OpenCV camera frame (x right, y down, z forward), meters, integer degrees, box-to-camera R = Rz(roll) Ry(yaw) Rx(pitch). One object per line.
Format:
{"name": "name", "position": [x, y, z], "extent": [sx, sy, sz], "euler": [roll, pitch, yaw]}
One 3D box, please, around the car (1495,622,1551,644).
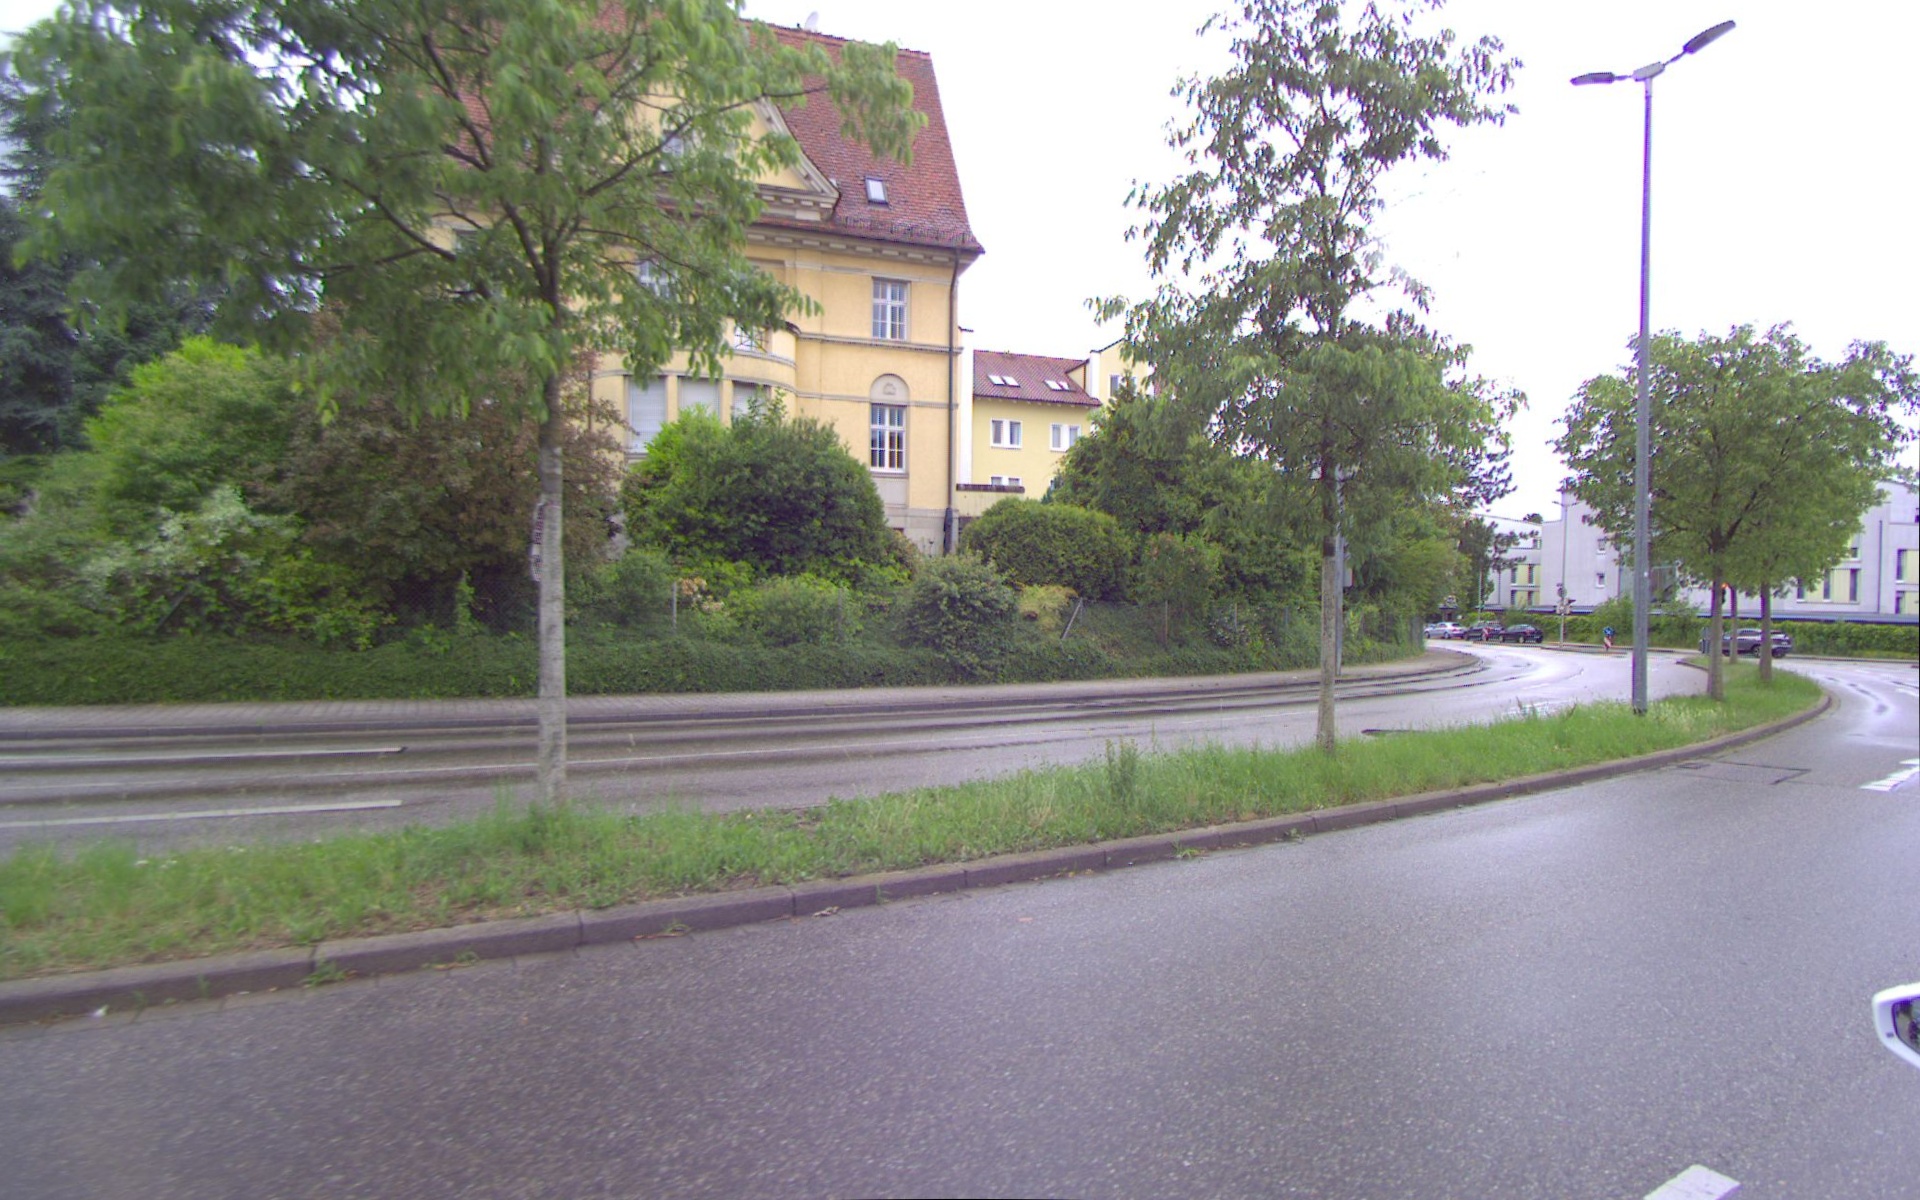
{"name": "car", "position": [44.853, 2.634, 80.083], "extent": [1.962, 1.576, 3.996], "euler": [0, 0, -6]}

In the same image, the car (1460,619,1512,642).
{"name": "car", "position": [44.329, 2.570, 84.735], "extent": [1.963, 1.576, 3.995], "euler": [2, 2, -6]}

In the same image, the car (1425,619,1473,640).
{"name": "car", "position": [43.495, 2.591, 89.446], "extent": [1.963, 1.576, 3.995], "euler": [2, 2, -6]}

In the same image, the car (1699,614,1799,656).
{"name": "car", "position": [44.950, 1.954, 57.352], "extent": [1.951, 2.041, 3.981], "euler": [0, 4, -20]}
